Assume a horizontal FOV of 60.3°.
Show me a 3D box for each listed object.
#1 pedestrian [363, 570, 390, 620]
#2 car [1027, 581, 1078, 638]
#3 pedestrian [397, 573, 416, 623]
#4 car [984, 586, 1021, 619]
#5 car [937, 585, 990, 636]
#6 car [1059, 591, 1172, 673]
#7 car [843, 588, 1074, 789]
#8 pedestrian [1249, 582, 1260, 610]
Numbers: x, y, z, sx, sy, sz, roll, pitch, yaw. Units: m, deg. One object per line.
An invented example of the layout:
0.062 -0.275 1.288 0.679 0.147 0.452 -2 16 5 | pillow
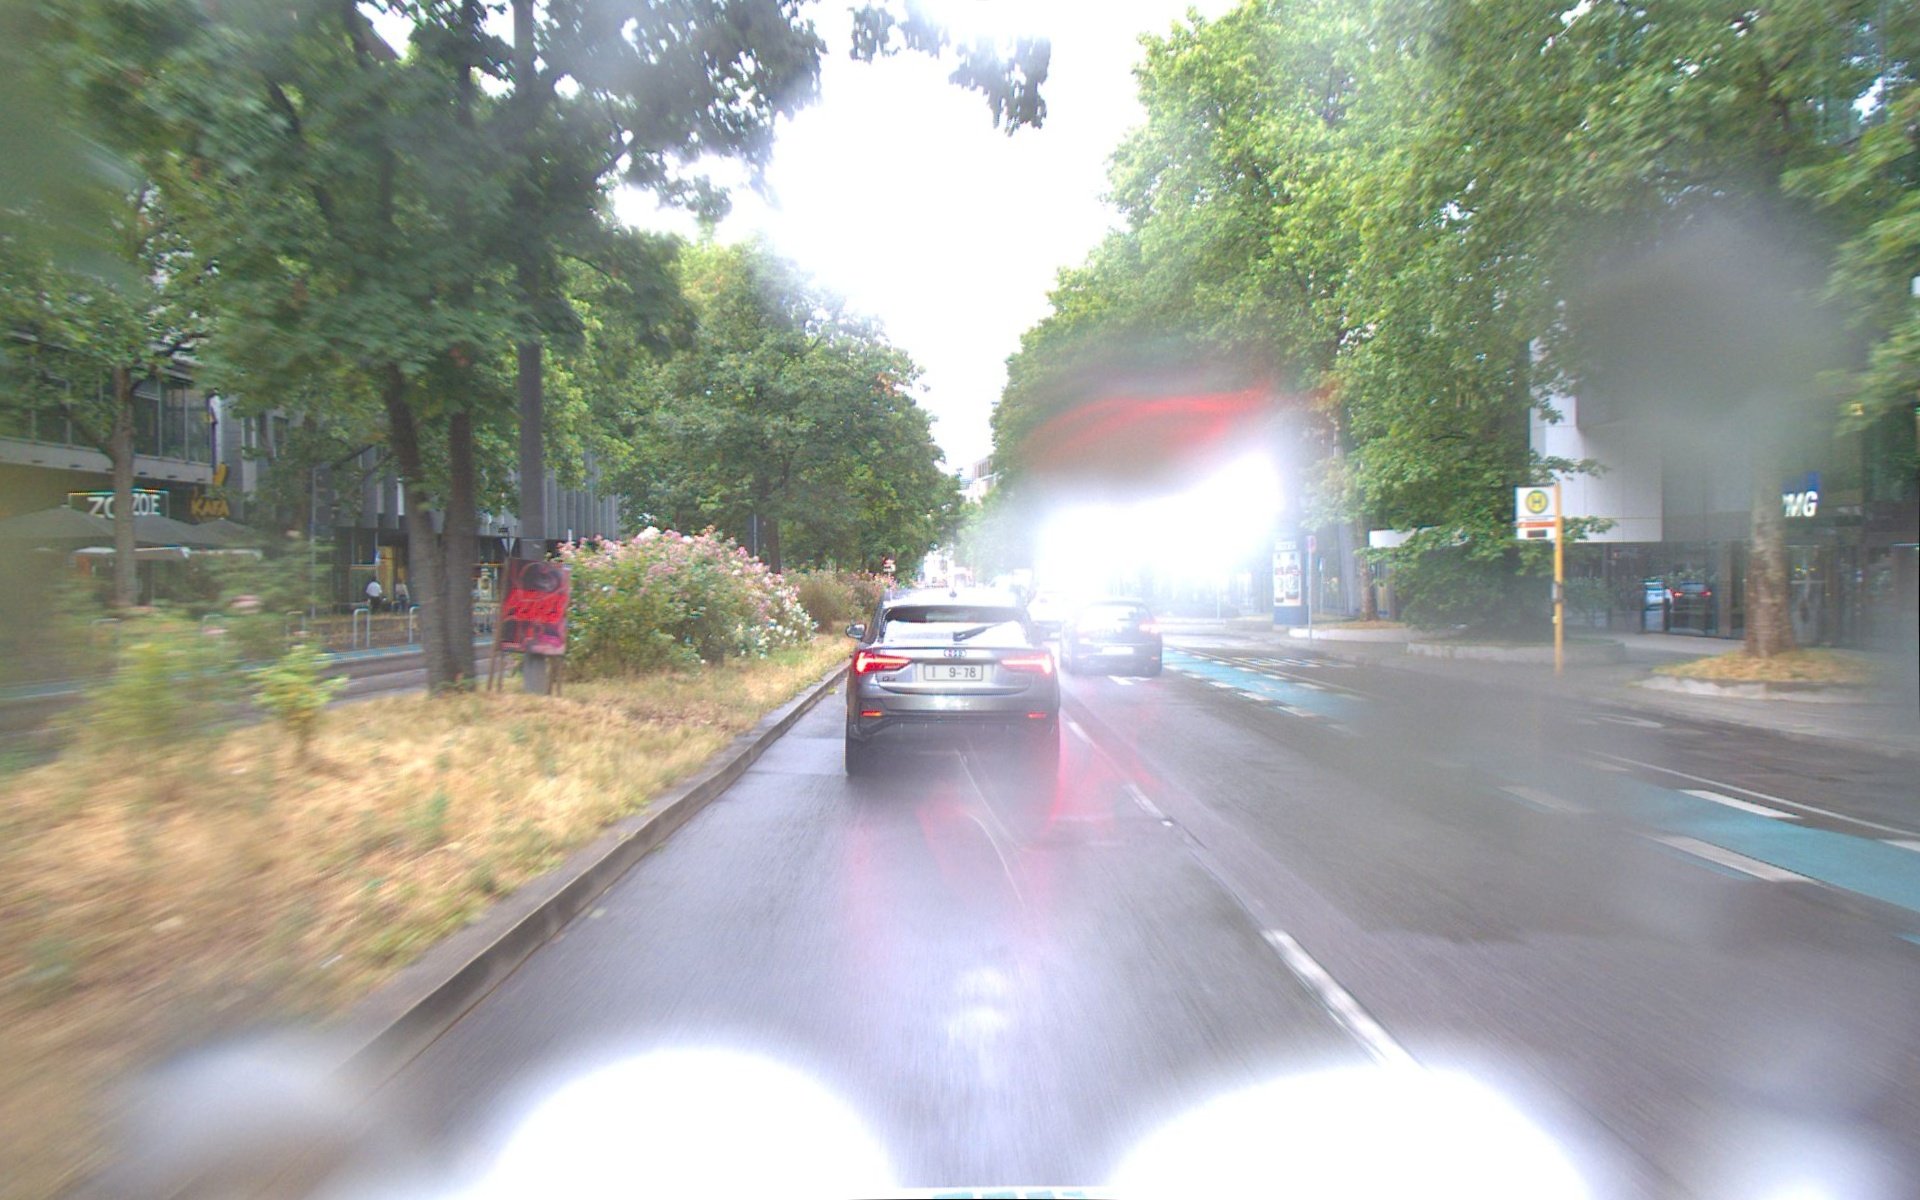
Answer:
-23.920 -0.202 67.807 0.862 2.049 0.636 0 0 -1 | pedestrian
2.876 0.268 51.963 1.404 1.714 2.979 -1 1 0 | car
-22.814 -0.096 68.187 0.585 2.049 0.603 0 0 -1 | pedestrian
2.354 0.100 93.206 1.953 1.780 4.000 0 1 0 | car
0.083 0.309 54.222 1.686 1.605 3.961 0 1 -1 | car
2.941 0.561 31.962 1.729 1.437 3.999 -1 1 -1 | car
0.019 0.678 15.305 1.825 1.559 4.527 0 1 1 | car
19.555 -0.269 109.740 0.637 1.847 0.655 0 0 -1 | pedestrian
